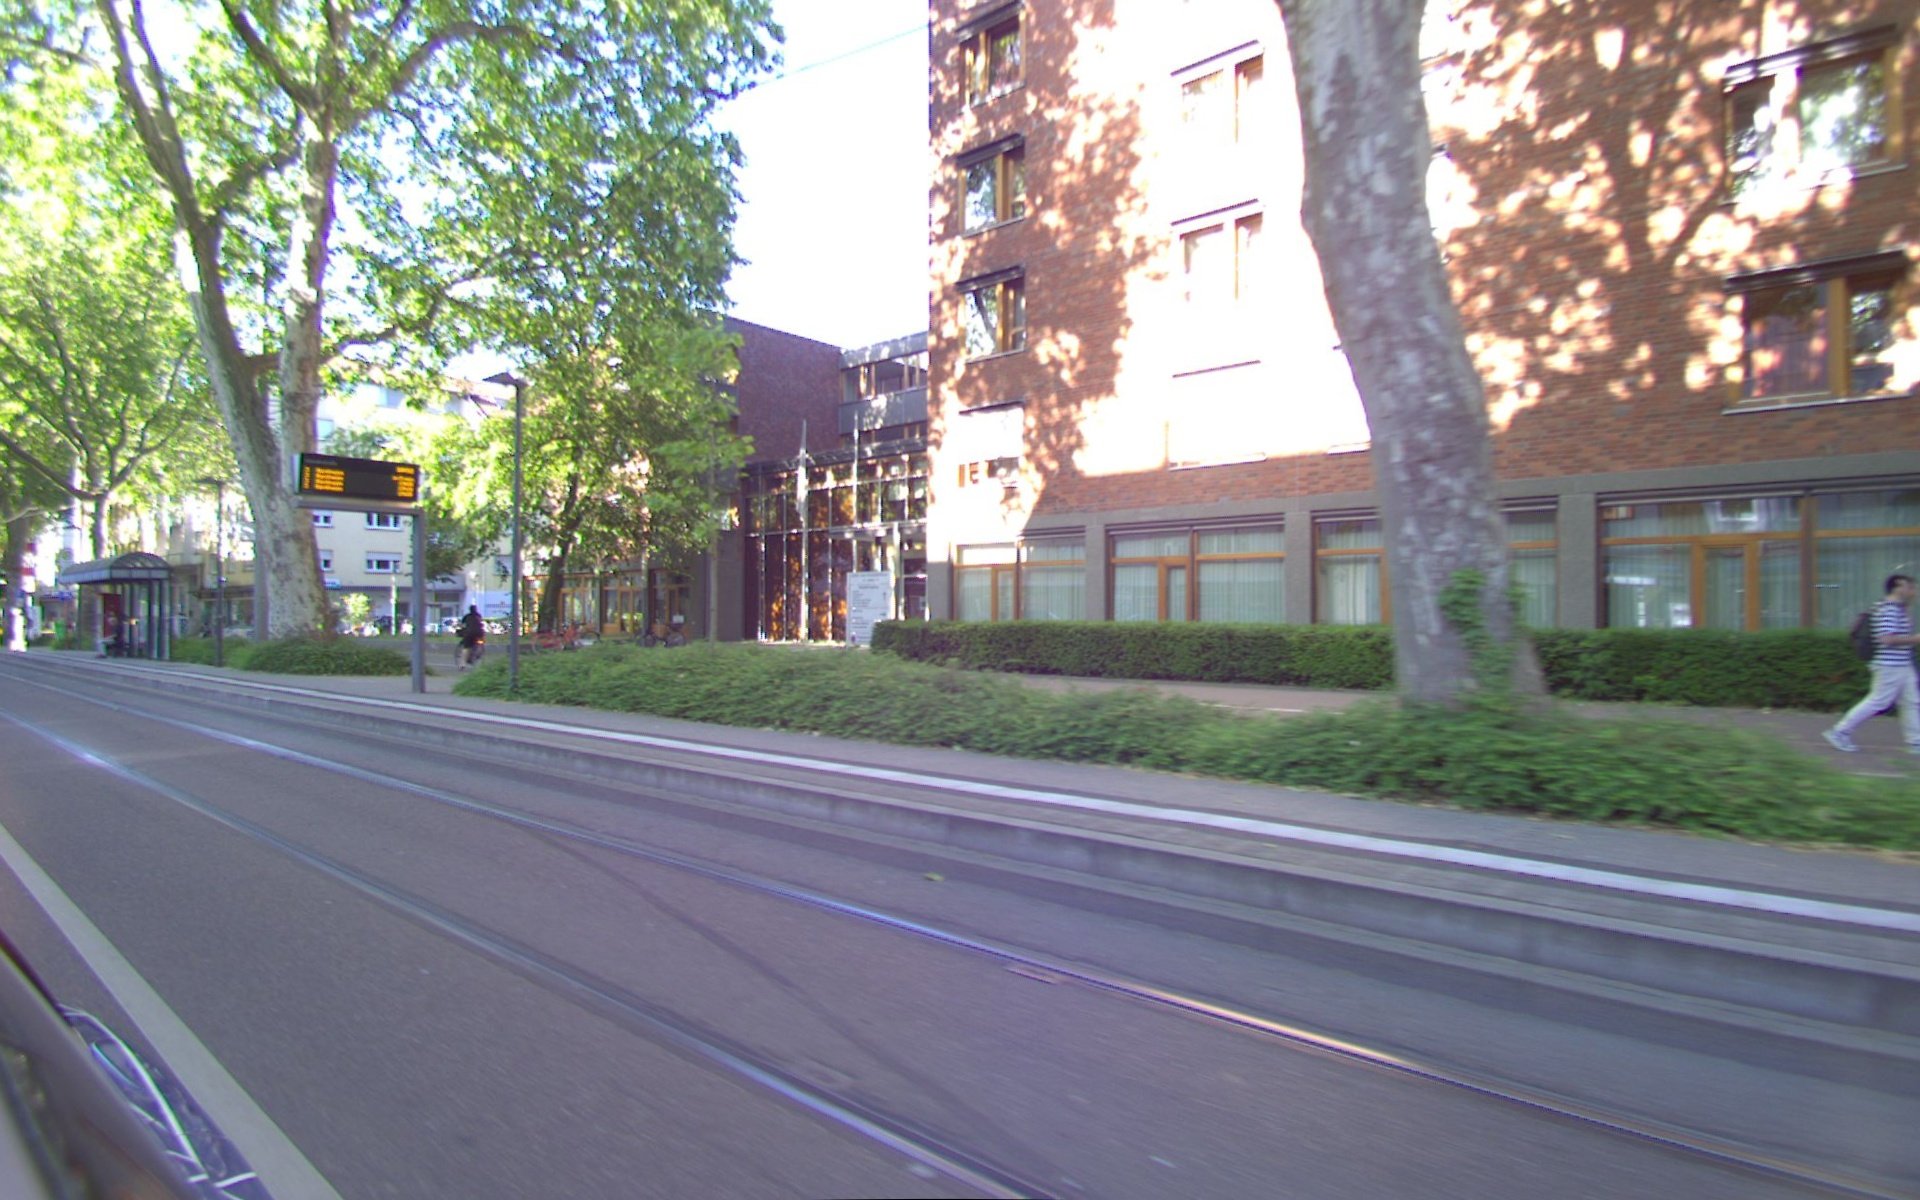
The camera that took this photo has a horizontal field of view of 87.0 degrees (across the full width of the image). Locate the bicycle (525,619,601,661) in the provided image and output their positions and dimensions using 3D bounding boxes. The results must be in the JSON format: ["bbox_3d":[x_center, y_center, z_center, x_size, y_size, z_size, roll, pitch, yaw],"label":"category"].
[{"bbox_3d":[-12.452,1.238,31.749,2.067,1.198,0.883,-1,0,-33],"label":"bicycle"}]

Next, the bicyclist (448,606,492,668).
[{"bbox_3d":[-12.313,0.909,25.427,0.892,1.526,0.725,-1,0,44],"label":"bicyclist"}]

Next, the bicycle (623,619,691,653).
[{"bbox_3d":[-10.211,1.200,34.150,2.012,1.102,0.821,-1,0,3],"label":"bicycle"}]

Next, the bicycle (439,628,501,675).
[{"bbox_3d":[-12.364,1.270,25.499,2.039,1.102,0.738,-1,0,44],"label":"bicycle"}]

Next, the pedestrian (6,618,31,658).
[{"bbox_3d":[-38.627,1.543,41.519,0.561,1.606,0.699,-1,0,42],"label":"pedestrian"}]

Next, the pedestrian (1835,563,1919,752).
[{"bbox_3d":[9.117,0.535,9.779,0.971,1.757,0.756,-1,0,41],"label":"pedestrian"}]

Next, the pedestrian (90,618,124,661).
[{"bbox_3d":[-25.208,1.161,29.908,0.473,1.213,0.699,-1,0,42],"label":"pedestrian"}]
